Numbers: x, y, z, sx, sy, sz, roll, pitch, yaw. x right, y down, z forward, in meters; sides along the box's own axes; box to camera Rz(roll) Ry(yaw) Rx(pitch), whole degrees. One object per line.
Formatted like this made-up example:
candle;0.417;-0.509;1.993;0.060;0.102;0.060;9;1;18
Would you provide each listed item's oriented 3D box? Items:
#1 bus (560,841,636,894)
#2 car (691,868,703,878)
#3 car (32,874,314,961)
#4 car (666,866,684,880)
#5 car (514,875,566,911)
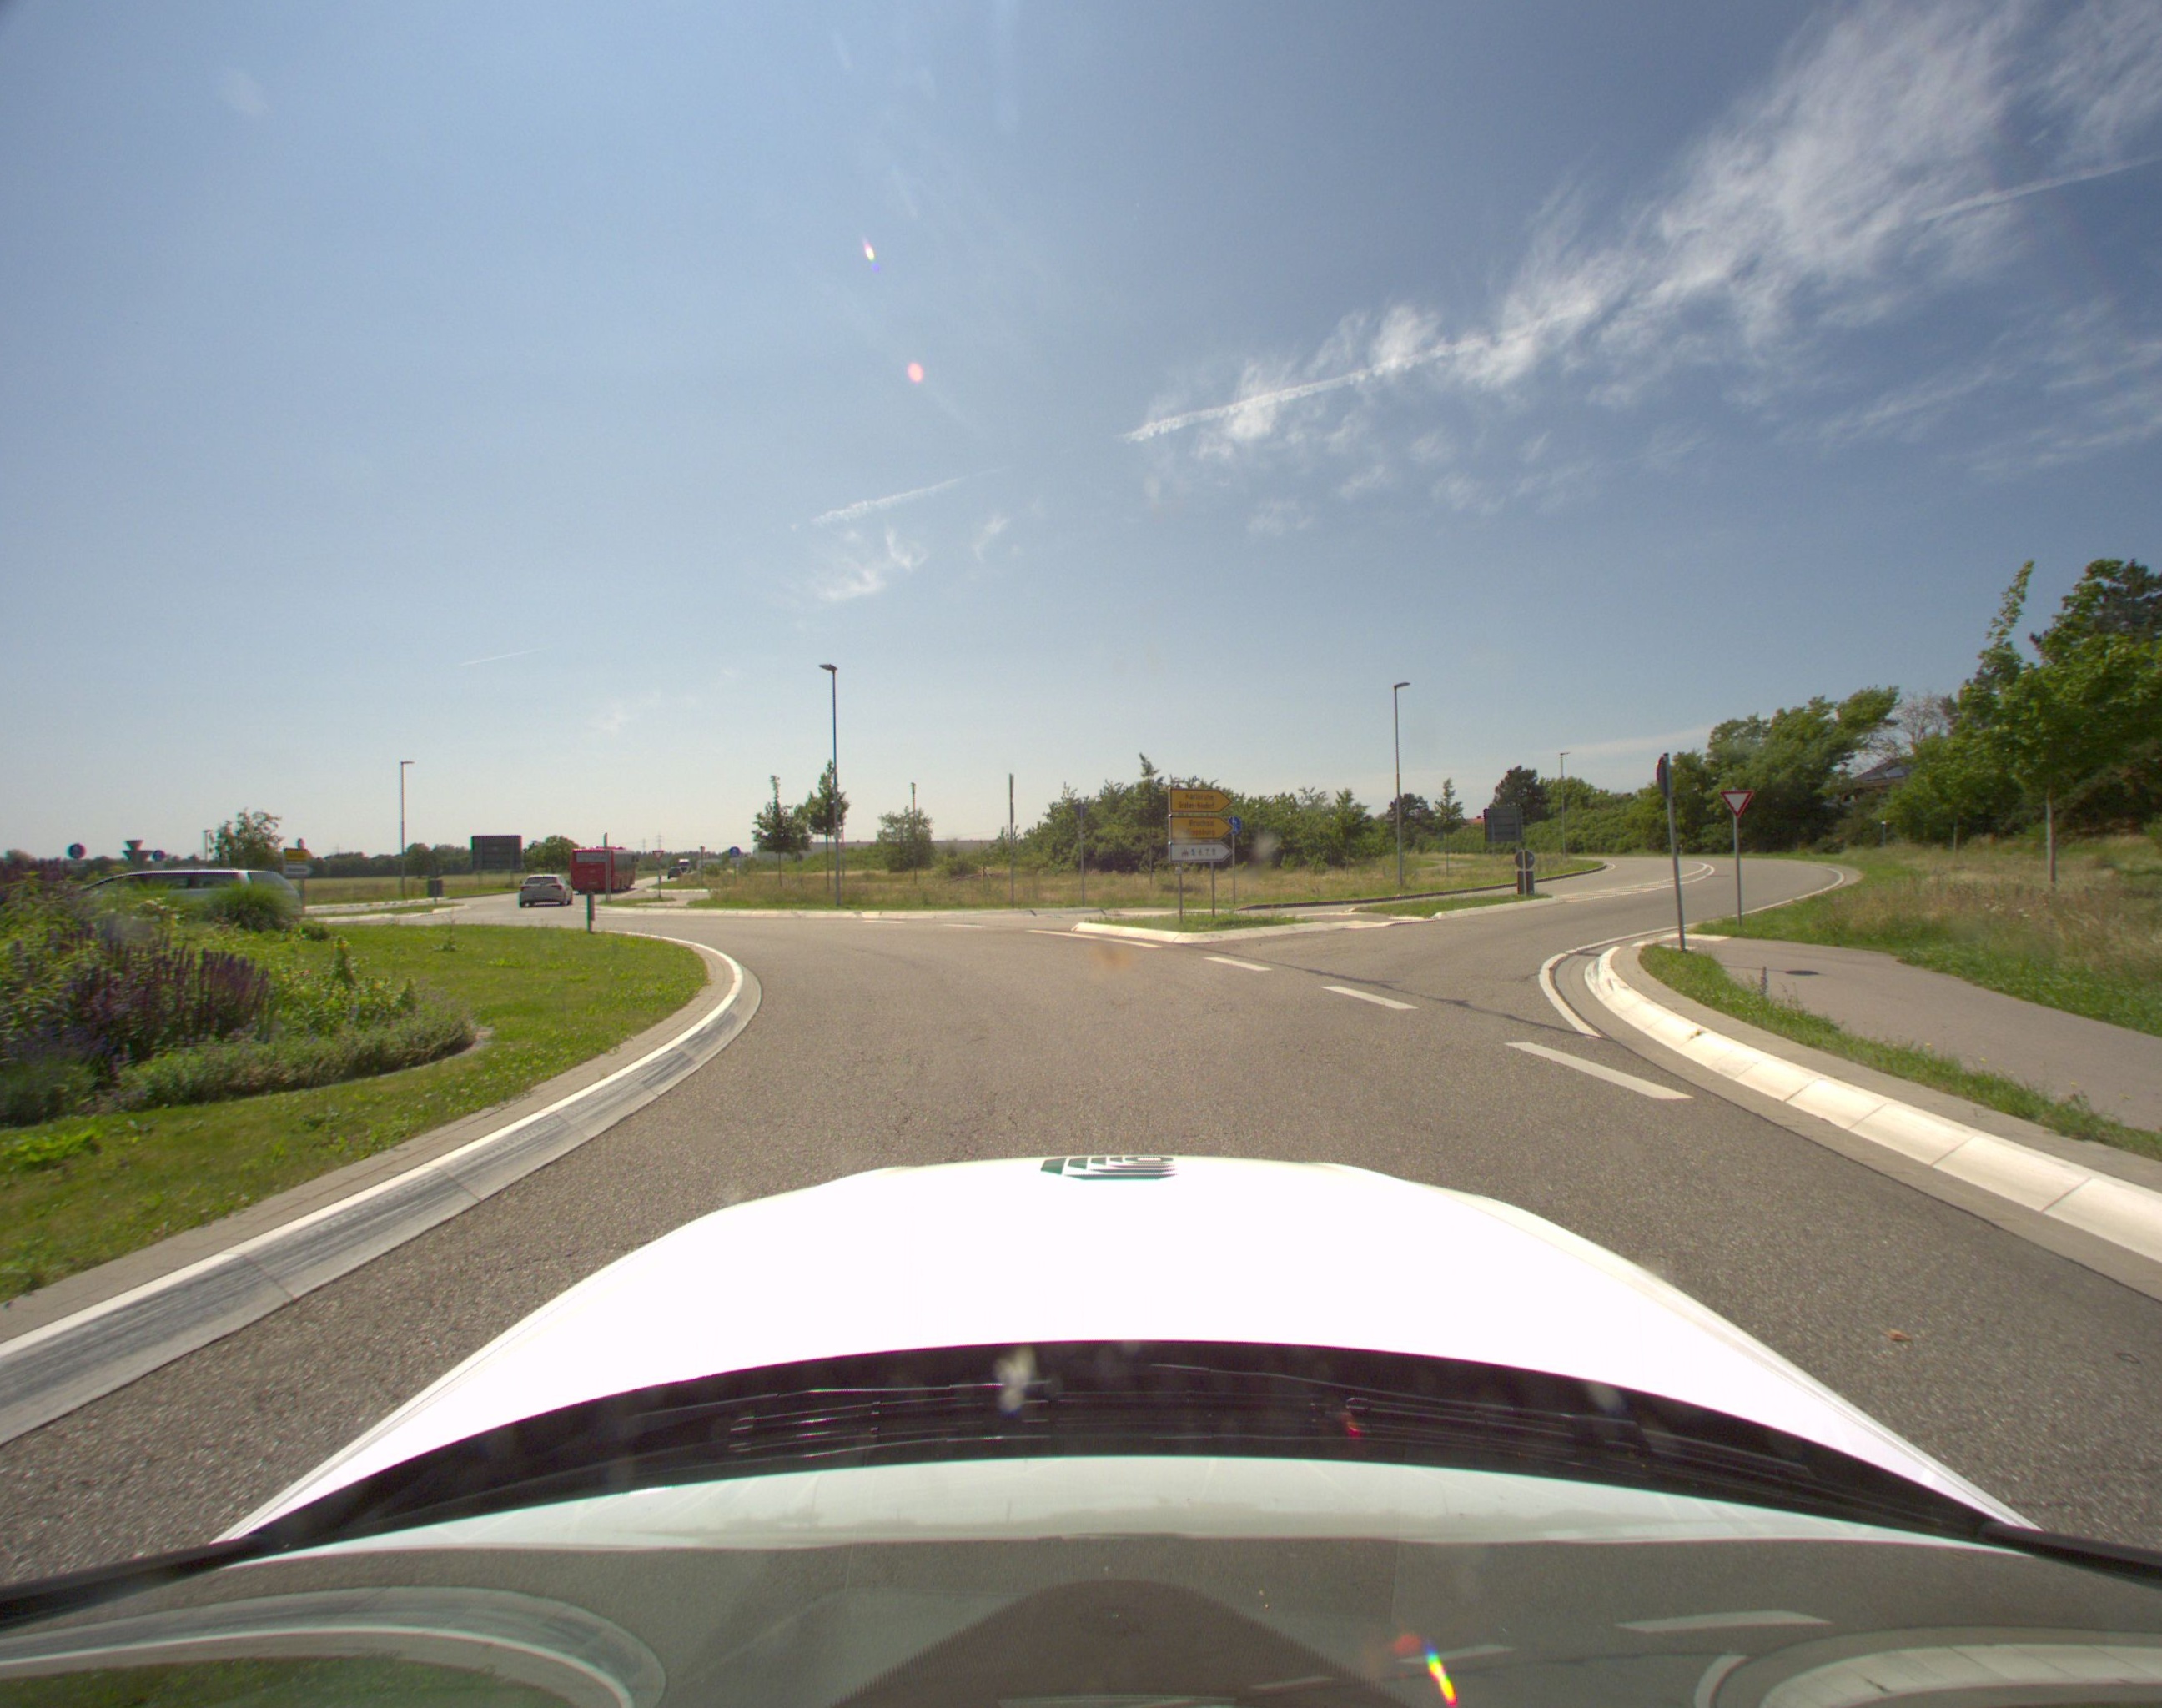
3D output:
bus;-34.126;0.978;57.997;3.319;3.309;11.891;-1;-1;-25
car;-74.820;3.700;158.826;2.003;1.846;4.137;-1;-1;-25
car;-20.246;1.368;18.334;3.984;1.674;1.774;-2;-1;-8
car;-57.329;2.685;115.053;2.002;1.926;3.970;-1;-1;-22
car;-24.685;1.737;37.244;1.734;1.464;3.566;-1;-1;-31
